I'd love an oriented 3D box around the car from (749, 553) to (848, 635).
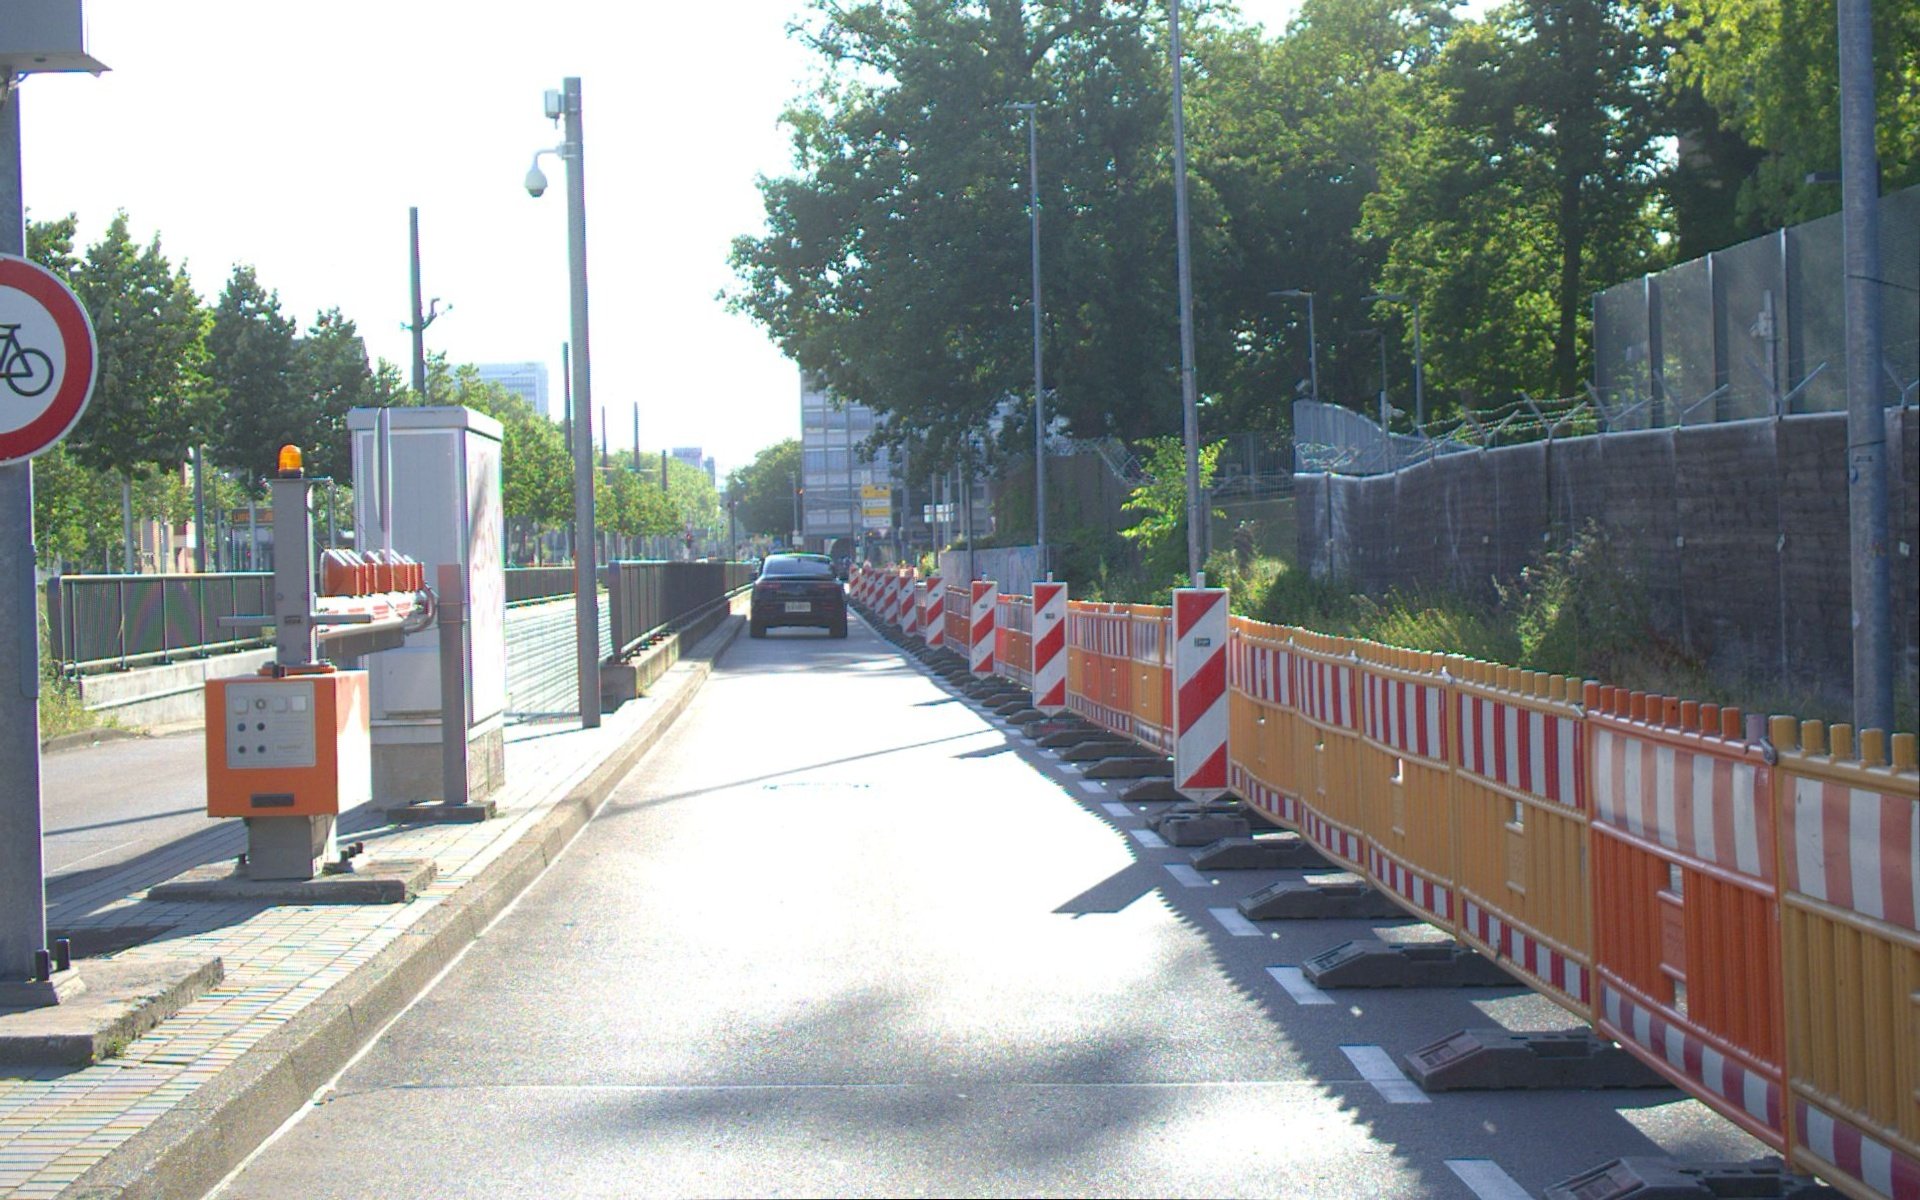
[{"bbox_3d":[-3.364,-0.130,72.350,2.005,1.653,4.000,0,0,-2],"label":"car"}]
